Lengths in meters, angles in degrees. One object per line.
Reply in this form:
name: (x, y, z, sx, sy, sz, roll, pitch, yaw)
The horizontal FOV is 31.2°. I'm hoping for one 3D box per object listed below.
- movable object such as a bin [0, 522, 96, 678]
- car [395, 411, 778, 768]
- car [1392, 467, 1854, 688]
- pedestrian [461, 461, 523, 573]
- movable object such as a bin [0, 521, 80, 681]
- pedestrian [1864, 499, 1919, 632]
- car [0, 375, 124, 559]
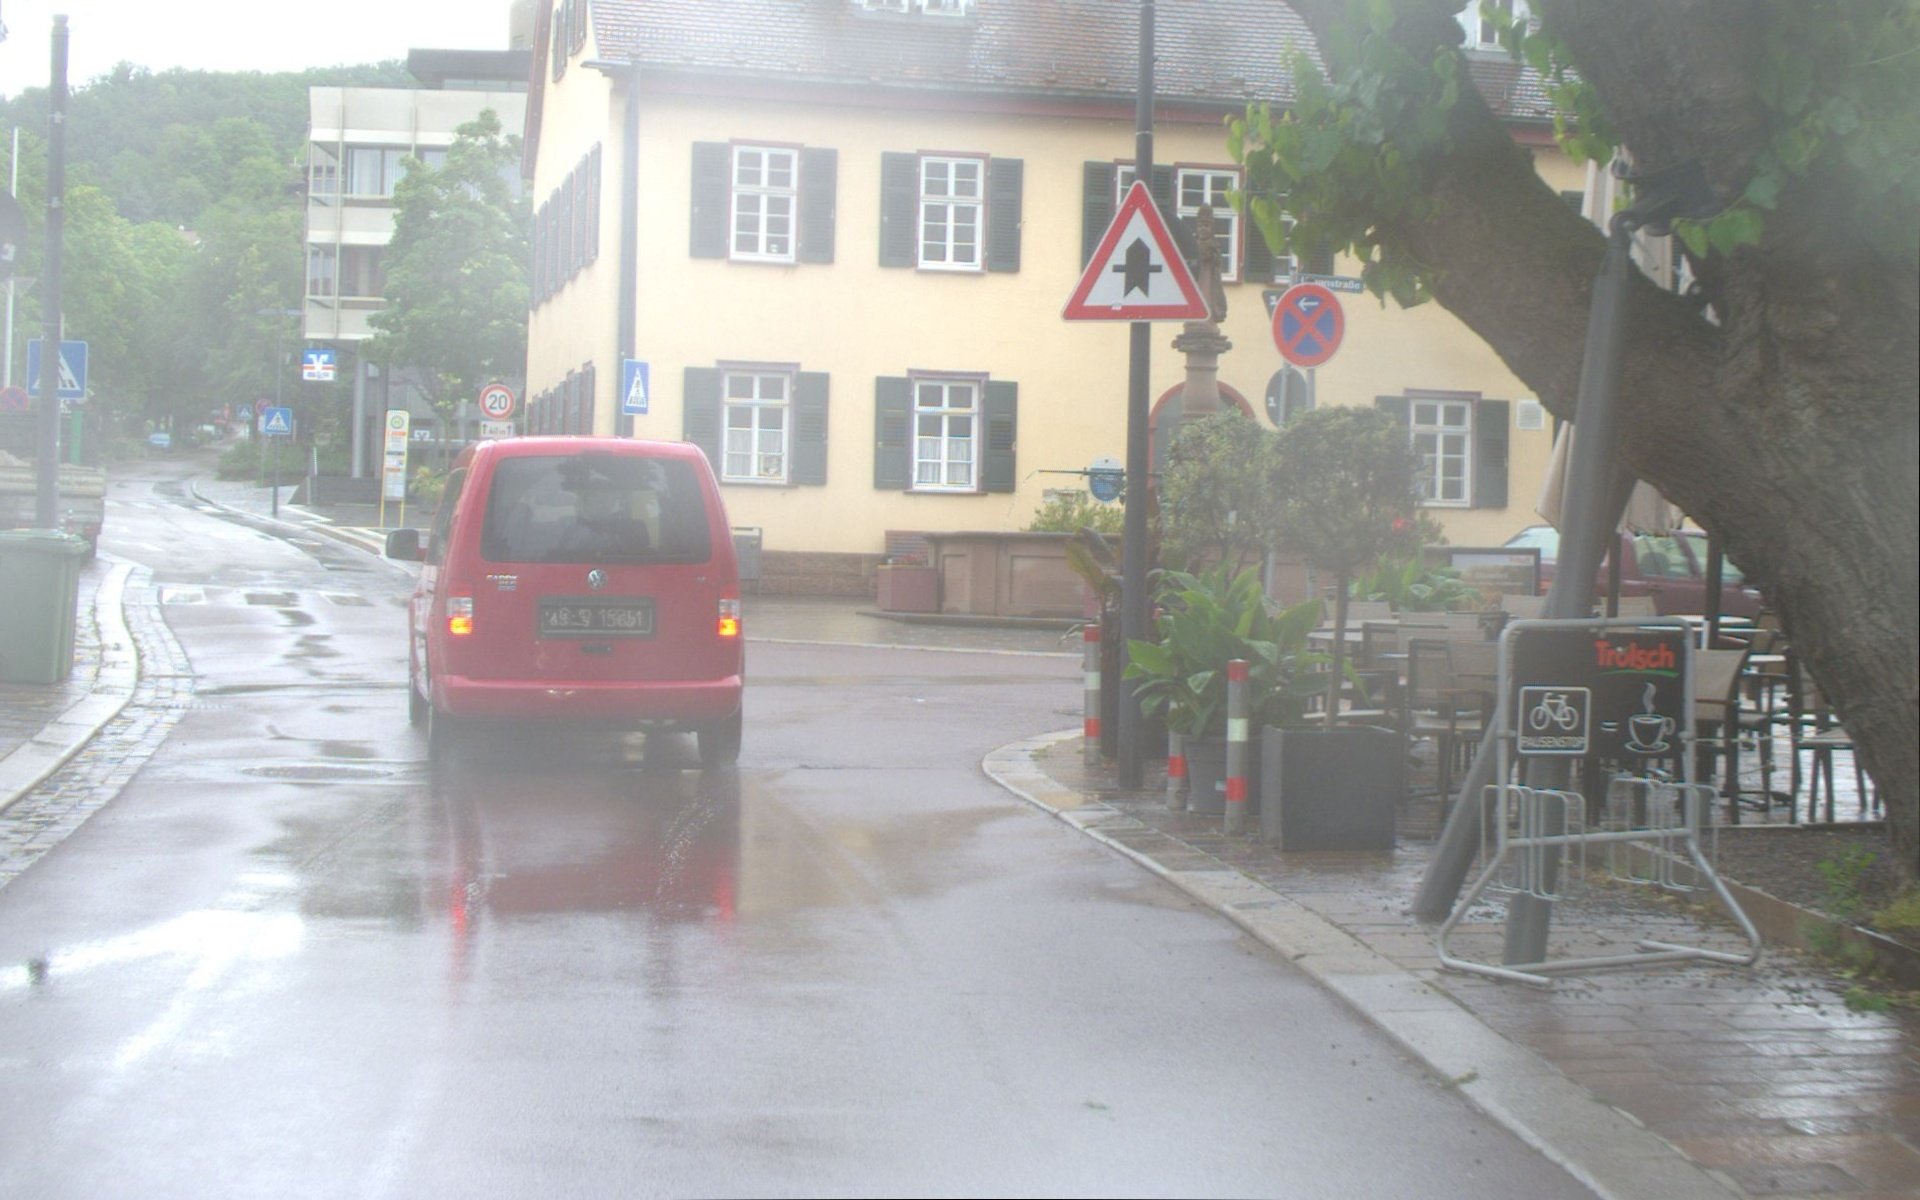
movable object such as a bin: (-6.812, -0.002, 25.165, 0.794, 1.102, 0.722, 3, 0, -6)
car: (-2.297, -0.137, 20.193, 1.893, 1.805, 4.002, 3, 2, -10)
car: (6.052, -0.184, 31.184, 3.988, 1.793, 1.999, 3, 0, -41)
pedestrian: (-7.948, -1.408, 58.385, 0.764, 1.836, 0.901, 3, 0, 7)
movable object such as a bin: (-6.703, 0.001, 24.471, 0.714, 1.102, 0.600, 3, 0, -5)
pedestrian: (13.375, -0.477, 48.651, 0.898, 1.836, 0.766, 3, 0, 3)
car: (-14.434, -2.005, 53.844, 2.299, 2.593, 6.960, 3, 0, -15)
